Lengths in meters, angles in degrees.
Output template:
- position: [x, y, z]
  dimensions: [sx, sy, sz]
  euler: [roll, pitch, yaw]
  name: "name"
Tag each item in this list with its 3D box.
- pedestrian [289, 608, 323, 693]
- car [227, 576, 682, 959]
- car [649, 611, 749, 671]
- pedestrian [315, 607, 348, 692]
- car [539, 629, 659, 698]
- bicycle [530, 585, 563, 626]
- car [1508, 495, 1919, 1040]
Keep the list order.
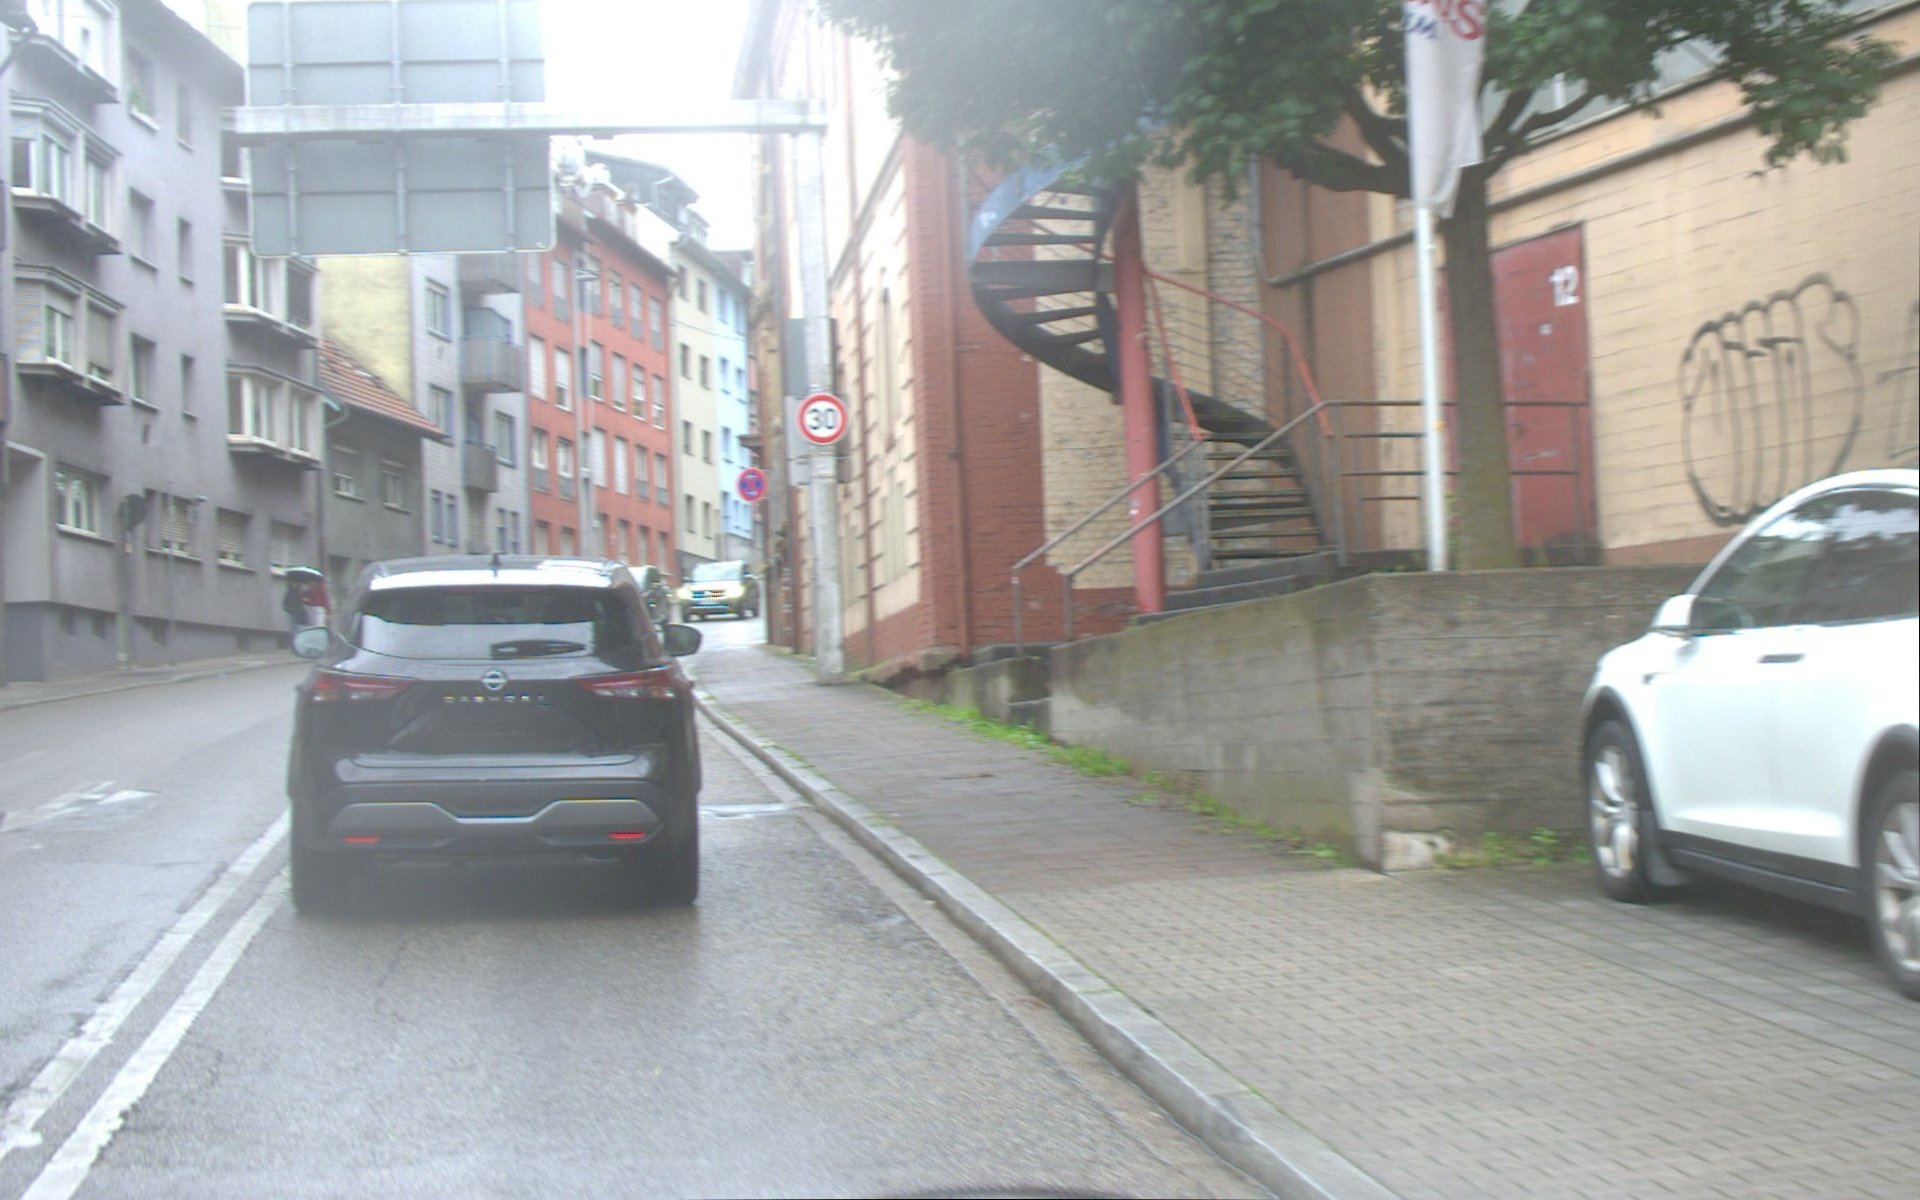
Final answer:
- position: [-13.916, 1.066, 73.131]
  dimensions: [0.523, 1.770, 0.622]
  euler: [-2, 1, 0]
  name: "pedestrian"
- position: [-2.418, 0.702, 16.488]
  dimensions: [1.880, 1.588, 3.922]
  euler: [1, 0, -8]
  name: "car"
- position: [-7.029, 1.124, 92.877]
  dimensions: [1.795, 1.505, 3.998]
  euler: [-2, -2, 9]
  name: "car"
- position: [-13.367, 1.049, 73.131]
  dimensions: [0.523, 1.770, 0.622]
  euler: [-2, 1, 0]
  name: "pedestrian"
- position: [-8.367, 1.491, 79.967]
  dimensions: [1.795, 1.505, 3.998]
  euler: [-2, -2, 9]
  name: "car"
- position: [-11.951, 0.164, 99.367]
  dimensions: [0.498, 1.104, 1.800]
  euler: [-2, 2, 6]
  name: "bicycle"
- position: [3.537, 0.441, 11.993]
  dimensions: [1.852, 1.612, 4.917]
  euler: [-2, 1, -7]
  name: "car"
